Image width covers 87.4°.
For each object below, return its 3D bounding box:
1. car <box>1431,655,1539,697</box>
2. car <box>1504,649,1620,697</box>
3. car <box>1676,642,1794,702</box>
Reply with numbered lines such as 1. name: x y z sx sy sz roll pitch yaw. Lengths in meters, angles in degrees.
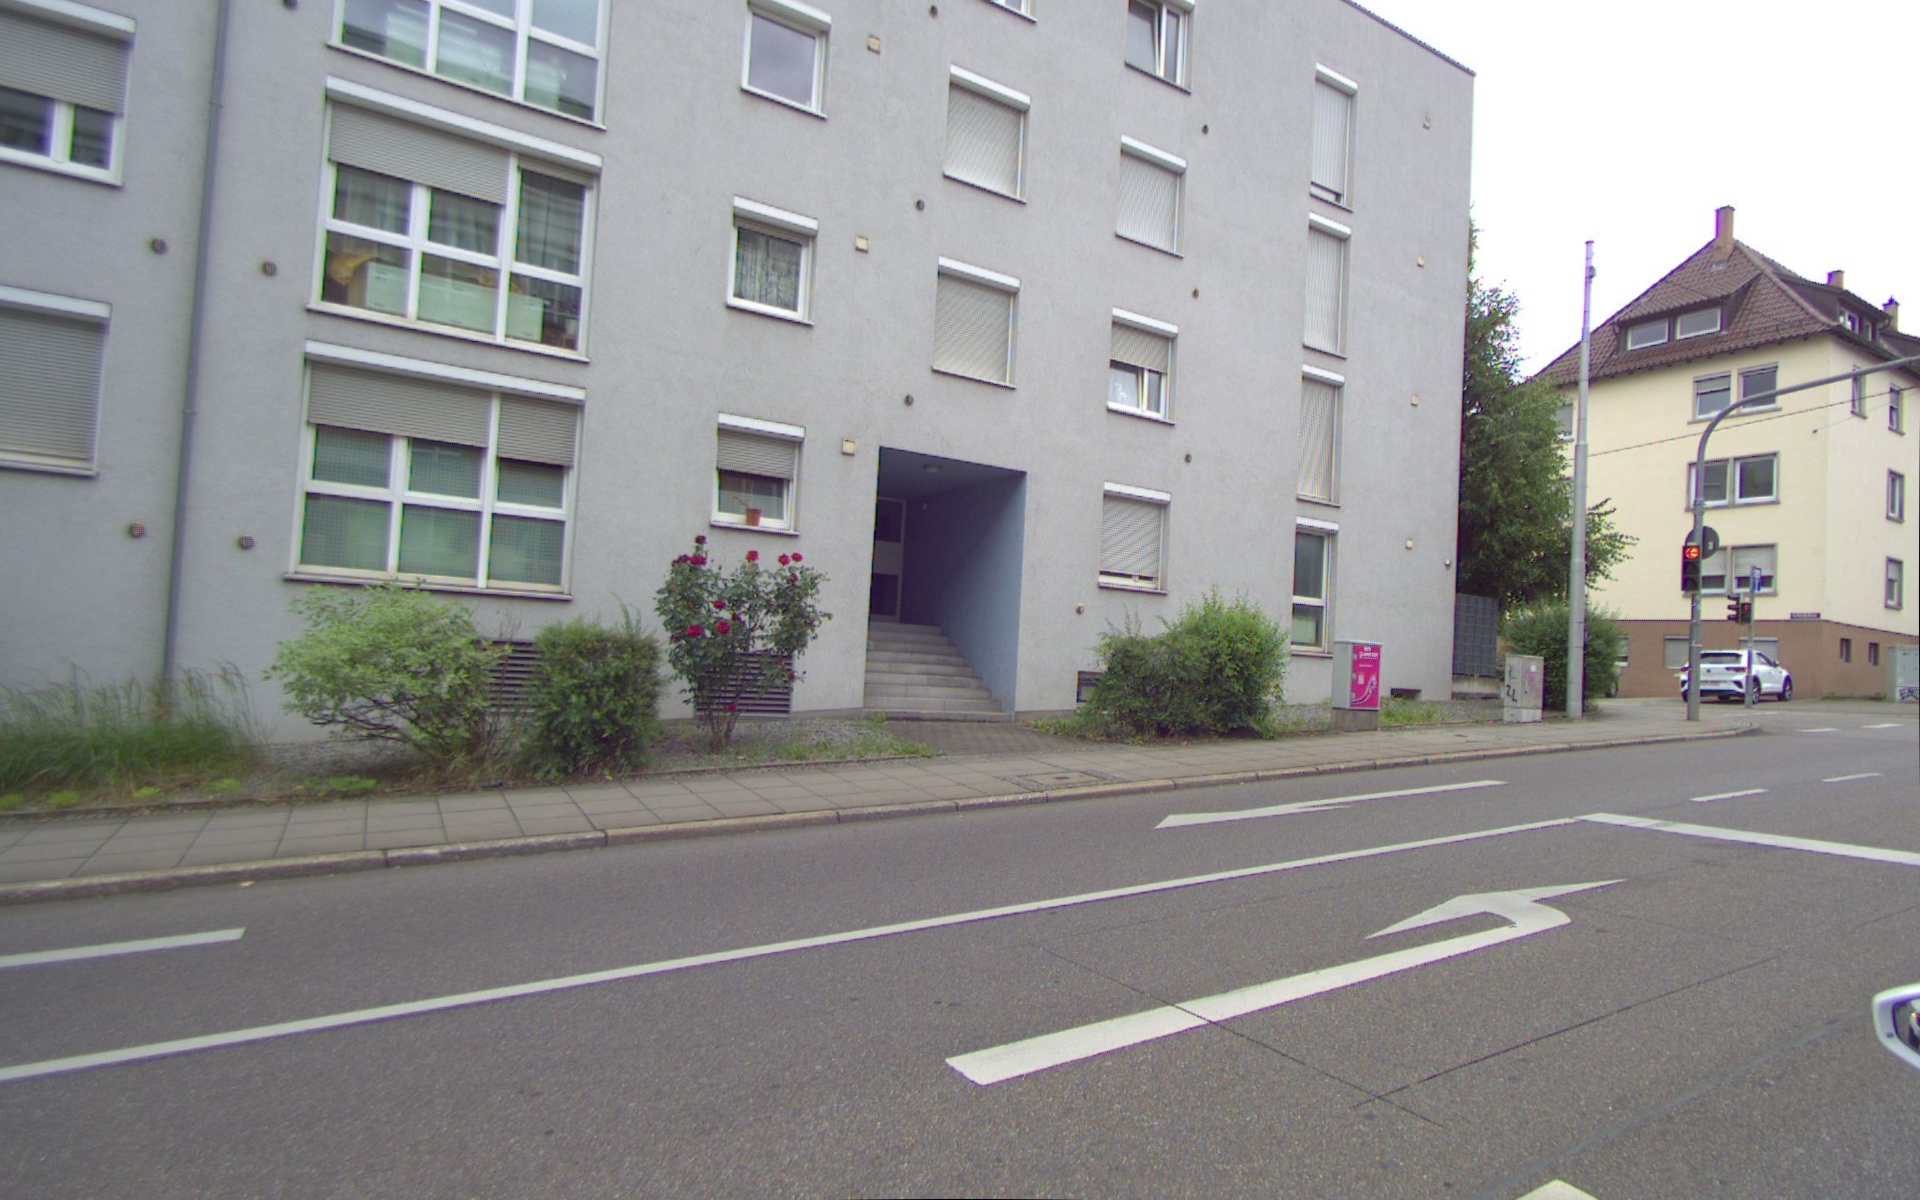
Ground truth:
1. car: 19.106 2.725 36.522 3.953 1.380 1.662 2 -1 -30
2. car: 20.709 2.503 34.539 4.053 1.566 1.662 2 -4 -30
3. car: 23.242 2.136 30.102 3.960 1.683 1.660 2 -4 -35
